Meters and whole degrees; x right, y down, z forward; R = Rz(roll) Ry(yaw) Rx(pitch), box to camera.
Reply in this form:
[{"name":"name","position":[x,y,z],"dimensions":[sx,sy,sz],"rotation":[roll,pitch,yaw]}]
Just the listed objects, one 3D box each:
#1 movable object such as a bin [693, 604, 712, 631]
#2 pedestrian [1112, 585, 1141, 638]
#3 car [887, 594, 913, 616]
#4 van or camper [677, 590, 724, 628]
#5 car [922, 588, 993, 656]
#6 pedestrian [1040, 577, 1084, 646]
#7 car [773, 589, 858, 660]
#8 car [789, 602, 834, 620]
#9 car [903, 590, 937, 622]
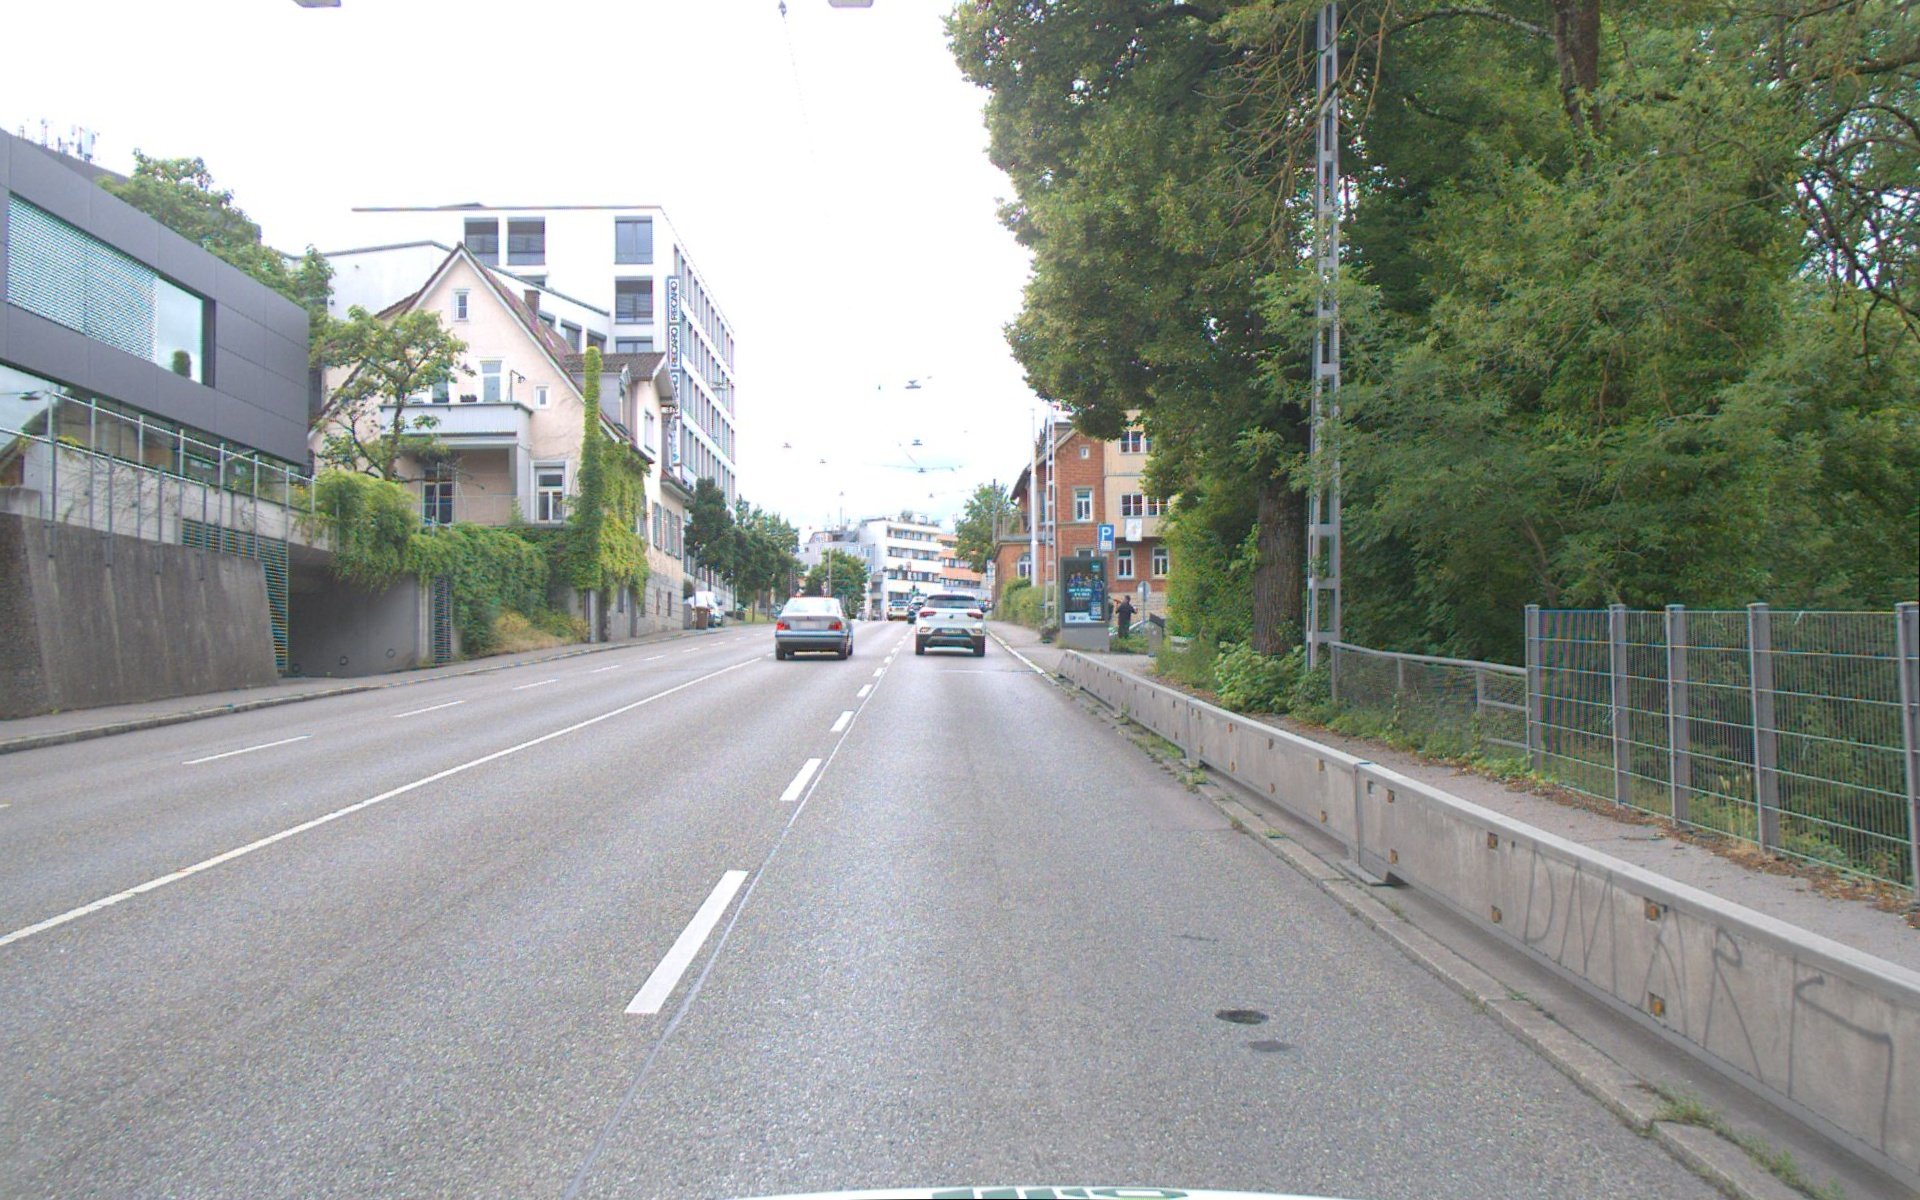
[{"name":"movable object such as a bin","position":[-12.080,0.802,77.641],"dimensions":[0.795,1.210,0.697],"rotation":[3,-1,-7]},{"name":"pedestrian","position":[5.096,0.354,50.667],"dimensions":[0.580,1.599,0.638],"rotation":[-2,0,-38]},{"name":"car","position":[-4.228,0.319,117.042],"dimensions":[1.793,1.489,3.999],"rotation":[-1,0,-1]},{"name":"van or camper","position":[-14.224,0.467,90.904],"dimensions":[2.019,2.002,4.869],"rotation":[-1,0,-3]},{"name":"car","position":[-0.086,0.523,42.084],"dimensions":[1.665,1.575,3.735],"rotation":[2,0,-1]},{"name":"pedestrian","position":[2.920,0.328,47.369],"dimensions":[0.930,1.917,0.811],"rotation":[-2,0,38]},{"name":"car","position":[-3.277,0.531,37.999],"dimensions":[1.665,1.542,3.735],"rotation":[-1,0,-1]},{"name":"car","position":[-13.668,1.039,152.292],"dimensions":[1.751,1.571,3.974],"rotation":[-1,-2,43]},{"name":"car","position":[-2.123,0.312,88.860],"dimensions":[1.793,1.680,3.999],"rotation":[-1,0,-1]}]
